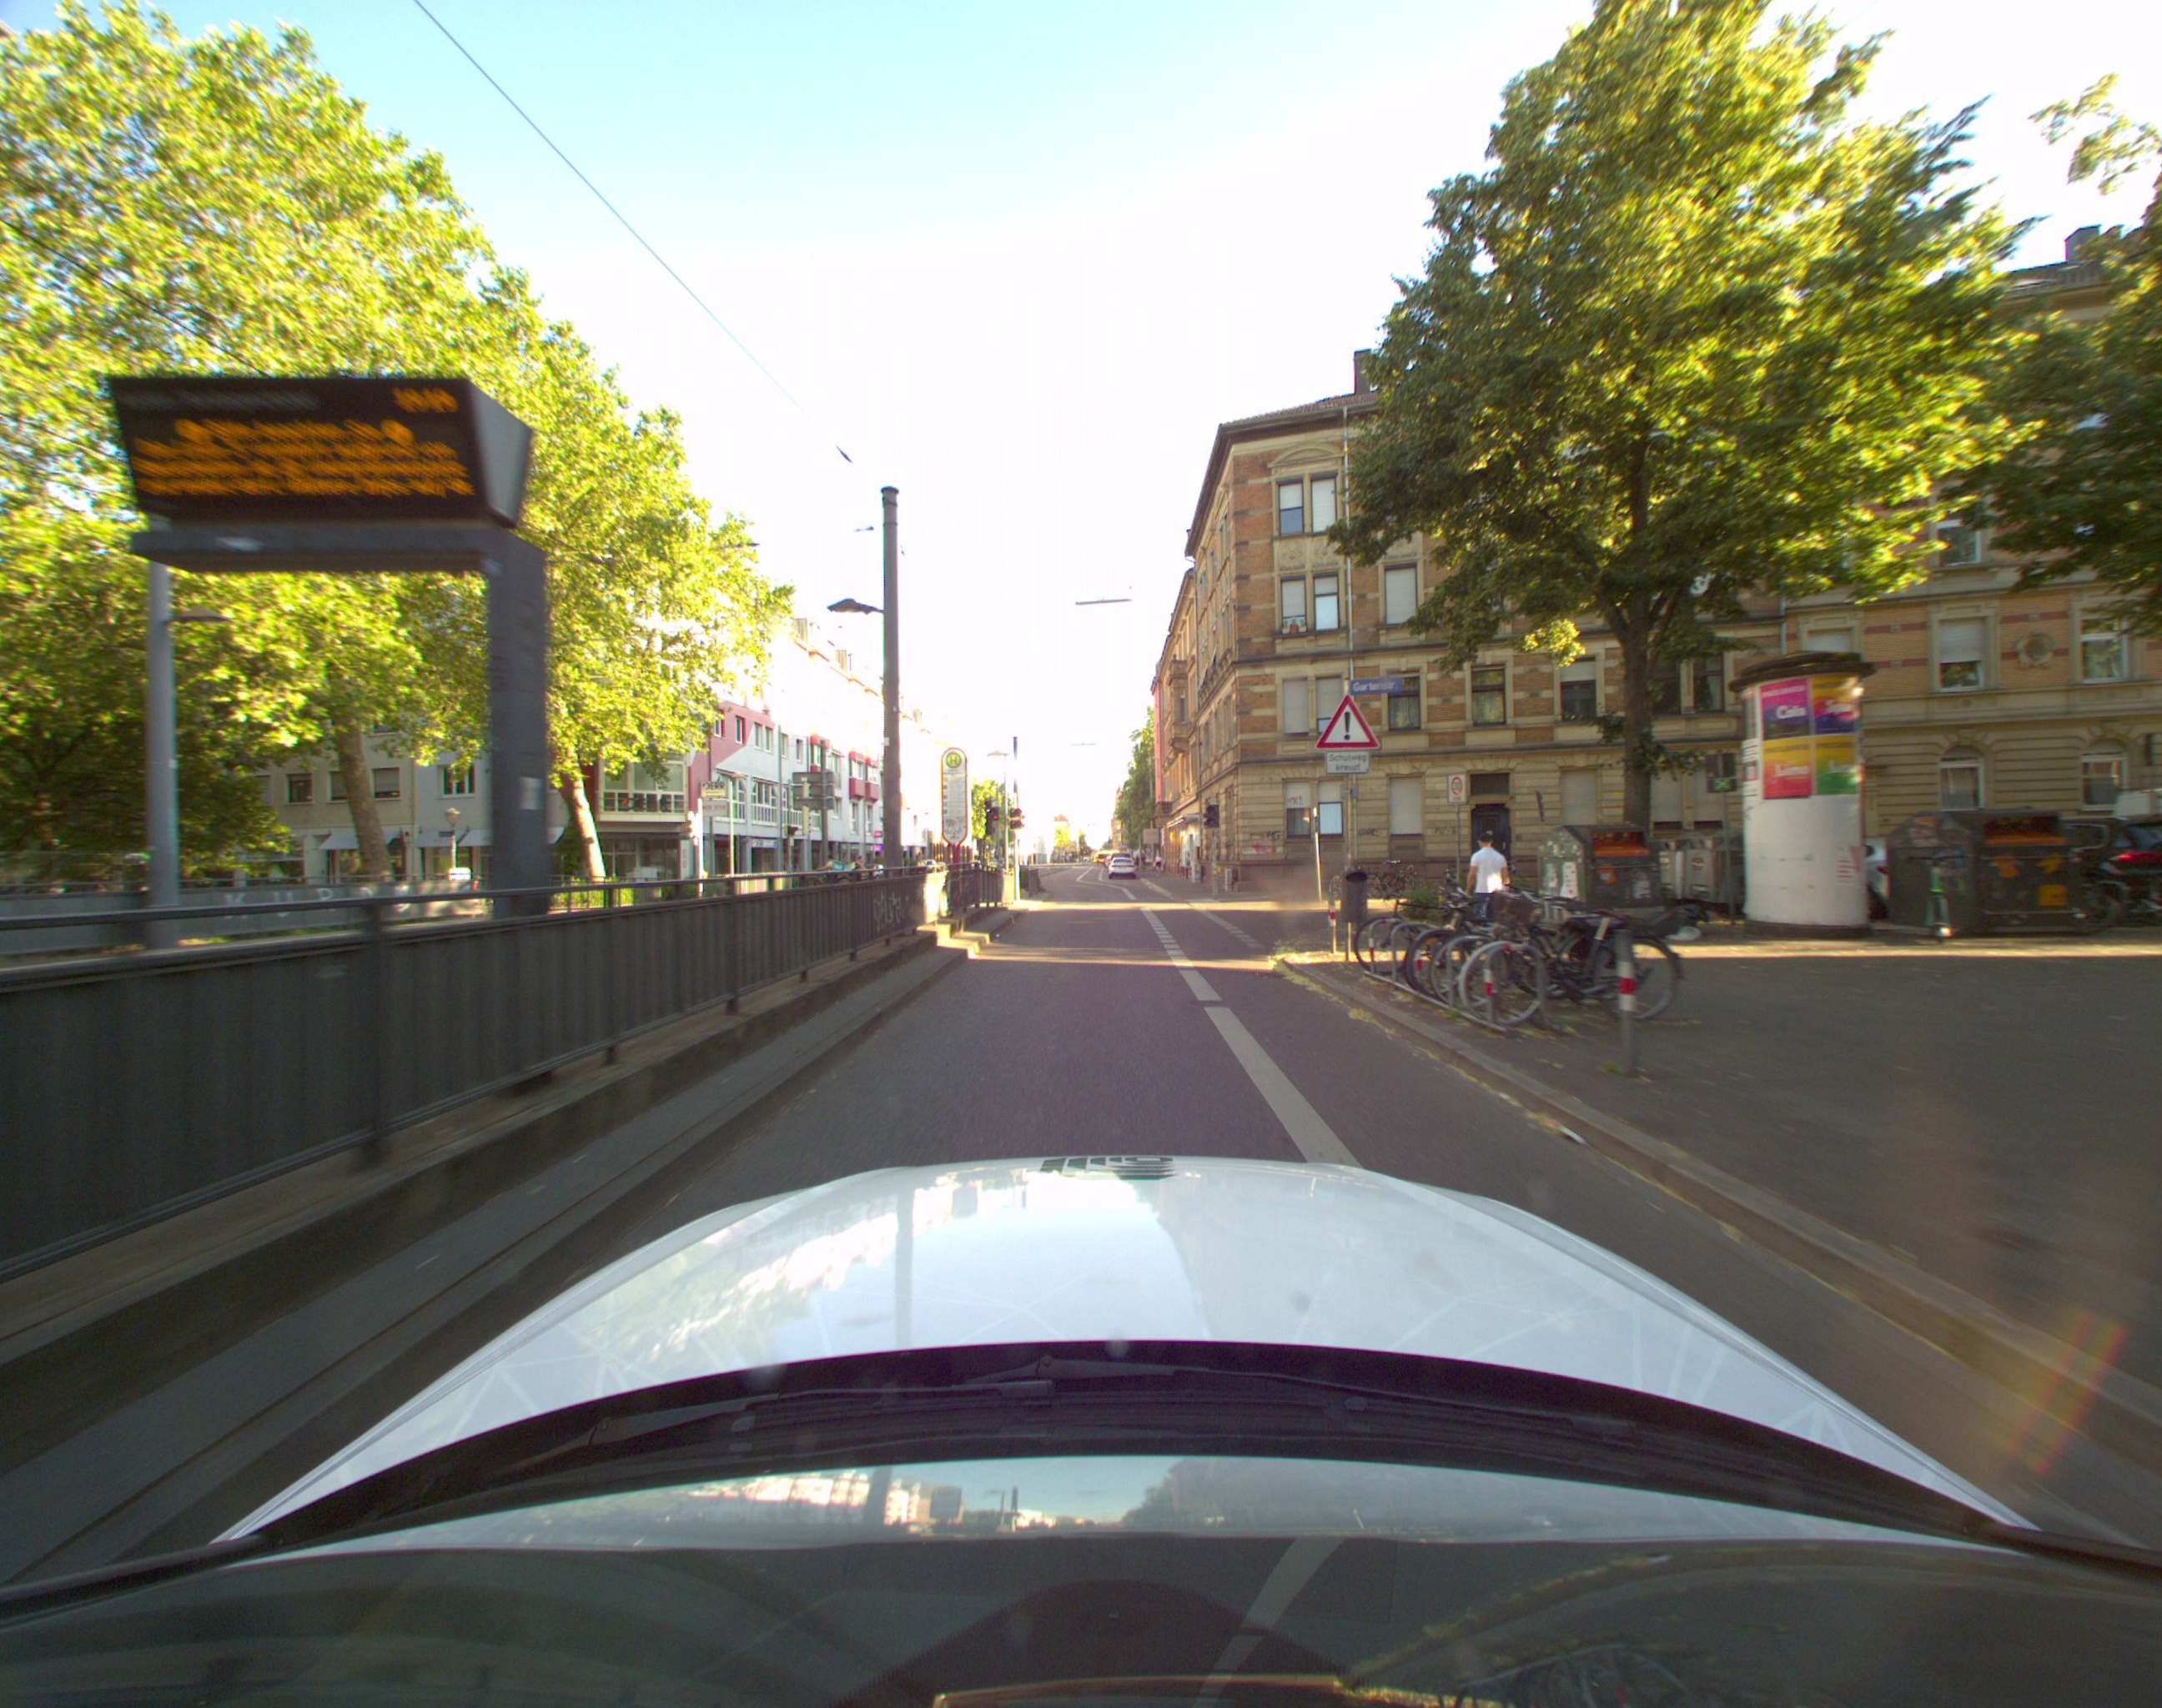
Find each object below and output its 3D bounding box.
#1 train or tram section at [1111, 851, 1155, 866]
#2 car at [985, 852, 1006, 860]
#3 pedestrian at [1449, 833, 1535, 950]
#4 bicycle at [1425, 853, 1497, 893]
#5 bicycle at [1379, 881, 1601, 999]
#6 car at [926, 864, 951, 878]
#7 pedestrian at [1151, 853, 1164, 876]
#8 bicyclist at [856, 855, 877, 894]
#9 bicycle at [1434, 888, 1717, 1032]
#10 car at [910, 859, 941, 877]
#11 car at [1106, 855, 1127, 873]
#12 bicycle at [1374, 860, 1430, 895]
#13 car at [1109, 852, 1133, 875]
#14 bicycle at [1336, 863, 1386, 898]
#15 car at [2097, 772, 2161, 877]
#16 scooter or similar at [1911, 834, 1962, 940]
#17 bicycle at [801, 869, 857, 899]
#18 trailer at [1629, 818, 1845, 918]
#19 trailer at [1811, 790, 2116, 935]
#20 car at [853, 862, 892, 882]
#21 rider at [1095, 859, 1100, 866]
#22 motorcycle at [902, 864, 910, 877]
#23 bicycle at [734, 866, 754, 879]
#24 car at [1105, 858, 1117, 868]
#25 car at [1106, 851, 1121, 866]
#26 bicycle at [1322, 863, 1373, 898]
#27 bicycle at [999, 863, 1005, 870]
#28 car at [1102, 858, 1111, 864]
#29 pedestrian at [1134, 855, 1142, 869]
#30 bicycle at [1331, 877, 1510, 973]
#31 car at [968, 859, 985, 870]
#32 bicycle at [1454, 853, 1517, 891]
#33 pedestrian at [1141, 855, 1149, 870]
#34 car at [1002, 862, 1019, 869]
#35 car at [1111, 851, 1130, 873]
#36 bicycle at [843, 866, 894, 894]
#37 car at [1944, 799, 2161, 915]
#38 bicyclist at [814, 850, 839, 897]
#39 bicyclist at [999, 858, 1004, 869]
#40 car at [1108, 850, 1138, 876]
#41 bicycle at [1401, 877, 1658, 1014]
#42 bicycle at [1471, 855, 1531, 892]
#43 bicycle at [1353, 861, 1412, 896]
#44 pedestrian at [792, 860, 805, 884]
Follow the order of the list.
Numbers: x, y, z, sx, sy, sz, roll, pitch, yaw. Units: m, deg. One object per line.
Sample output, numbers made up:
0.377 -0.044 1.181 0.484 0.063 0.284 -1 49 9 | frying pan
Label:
14.506 1.336 228.244 12.044 3.960 2.693 2 -1 -9 | train or tram section
-18.190 0.430 173.195 3.898 1.627 1.855 0 1 -35 | car
6.130 0.526 12.196 0.780 1.665 1.034 -1 1 2 | pedestrian
11.617 0.568 24.977 0.616 1.182 2.089 -1 0 -25 | bicycle
3.981 0.814 8.017 1.829 1.054 0.717 -1 0 -2 | bicycle
-15.513 1.847 88.672 1.861 1.450 3.587 0 -1 4 | car
5.431 0.717 58.055 0.772 1.567 0.915 -4 -1 4 | pedestrian
-8.612 0.822 32.710 0.743 1.578 0.532 0 -1 -11 | bicyclist
3.975 0.828 6.630 1.908 1.047 0.680 -1 0 -2 | bicycle
-15.446 1.390 81.180 2.084 1.713 4.818 0 -1 0 | car
3.696 1.006 85.251 1.943 1.788 5.181 1 -1 0 | car
9.822 0.706 24.993 0.497 1.024 1.895 -1 0 -19 | bicycle
3.357 0.773 69.145 1.947 1.869 4.992 0 0 3 | car
8.543 0.792 24.927 0.418 1.024 1.896 -1 0 -17 | bicycle
28.365 -0.697 19.505 4.824 2.519 1.980 0 -1 14 | car
11.518 0.426 10.979 0.368 1.344 1.289 -1 -1 42 | scooter or similar
-9.465 1.133 30.593 1.887 1.078 0.584 1 -1 -1 | bicycle
12.976 0.222 16.465 1.952 1.732 3.949 -2 1 15 | trailer
13.302 0.144 12.577 1.564 1.884 3.196 -3 -1 12 | trailer
-15.972 1.345 62.709 1.864 1.439 4.704 0 -1 -1 | car
3.474 1.862 172.128 0.880 1.481 0.713 1 -1 2 | rider
-17.069 1.621 79.329 0.671 1.205 2.129 1 -2 -15 | motorcycle
-18.624 1.007 45.052 0.455 0.658 1.807 1 0 -4 | bicycle
4.907 1.419 133.665 1.717 1.568 4.083 -2 -1 1 | car
4.645 0.674 114.905 1.963 2.014 4.560 -2 -1 2 | car
8.134 0.781 24.934 0.452 1.024 1.896 -1 0 -17 | bicycle
-12.404 1.905 127.931 0.583 1.077 2.174 -3 -1 -15 | bicycle
5.951 1.753 193.244 2.058 1.389 4.226 1 0 1 | car
6.385 0.905 91.123 0.773 1.567 0.914 -4 -1 2 | pedestrian
4.003 0.825 9.691 1.829 1.054 0.710 -1 0 -2 | bicycle
-14.778 1.477 115.075 1.864 1.600 4.251 0 0 -1 | car
12.559 0.551 25.342 0.447 1.123 1.942 -1 0 -22 | bicycle
7.184 0.925 91.032 0.773 1.567 0.914 -4 -1 2 | pedestrian
-15.810 2.600 182.606 3.542 1.481 1.567 1 -1 -31 | car
3.863 0.792 79.748 1.697 2.120 3.710 0 -1 4 | car
-8.524 1.036 32.704 1.894 1.078 0.582 2 -1 -12 | bicycle
17.421 0.069 13.876 1.952 1.732 3.948 0 -1 15 | car
-9.562 0.726 30.580 0.740 1.712 0.534 -1 0 1 | bicyclist
-12.414 1.441 127.820 0.572 1.712 0.742 -3 -1 -15 | bicyclist
2.919 0.633 57.184 1.959 1.771 4.878 0 -1 2 | car
3.972 0.789 7.287 1.965 1.105 0.614 -1 0 -2 | bicycle
13.027 0.593 25.335 0.405 1.123 1.895 -1 0 -19 | bicycle
9.259 0.736 25.094 0.464 1.039 1.891 -1 0 -26 | bicycle
-20.646 1.305 59.488 0.741 1.712 0.615 -1 0 -3 | pedestrian
